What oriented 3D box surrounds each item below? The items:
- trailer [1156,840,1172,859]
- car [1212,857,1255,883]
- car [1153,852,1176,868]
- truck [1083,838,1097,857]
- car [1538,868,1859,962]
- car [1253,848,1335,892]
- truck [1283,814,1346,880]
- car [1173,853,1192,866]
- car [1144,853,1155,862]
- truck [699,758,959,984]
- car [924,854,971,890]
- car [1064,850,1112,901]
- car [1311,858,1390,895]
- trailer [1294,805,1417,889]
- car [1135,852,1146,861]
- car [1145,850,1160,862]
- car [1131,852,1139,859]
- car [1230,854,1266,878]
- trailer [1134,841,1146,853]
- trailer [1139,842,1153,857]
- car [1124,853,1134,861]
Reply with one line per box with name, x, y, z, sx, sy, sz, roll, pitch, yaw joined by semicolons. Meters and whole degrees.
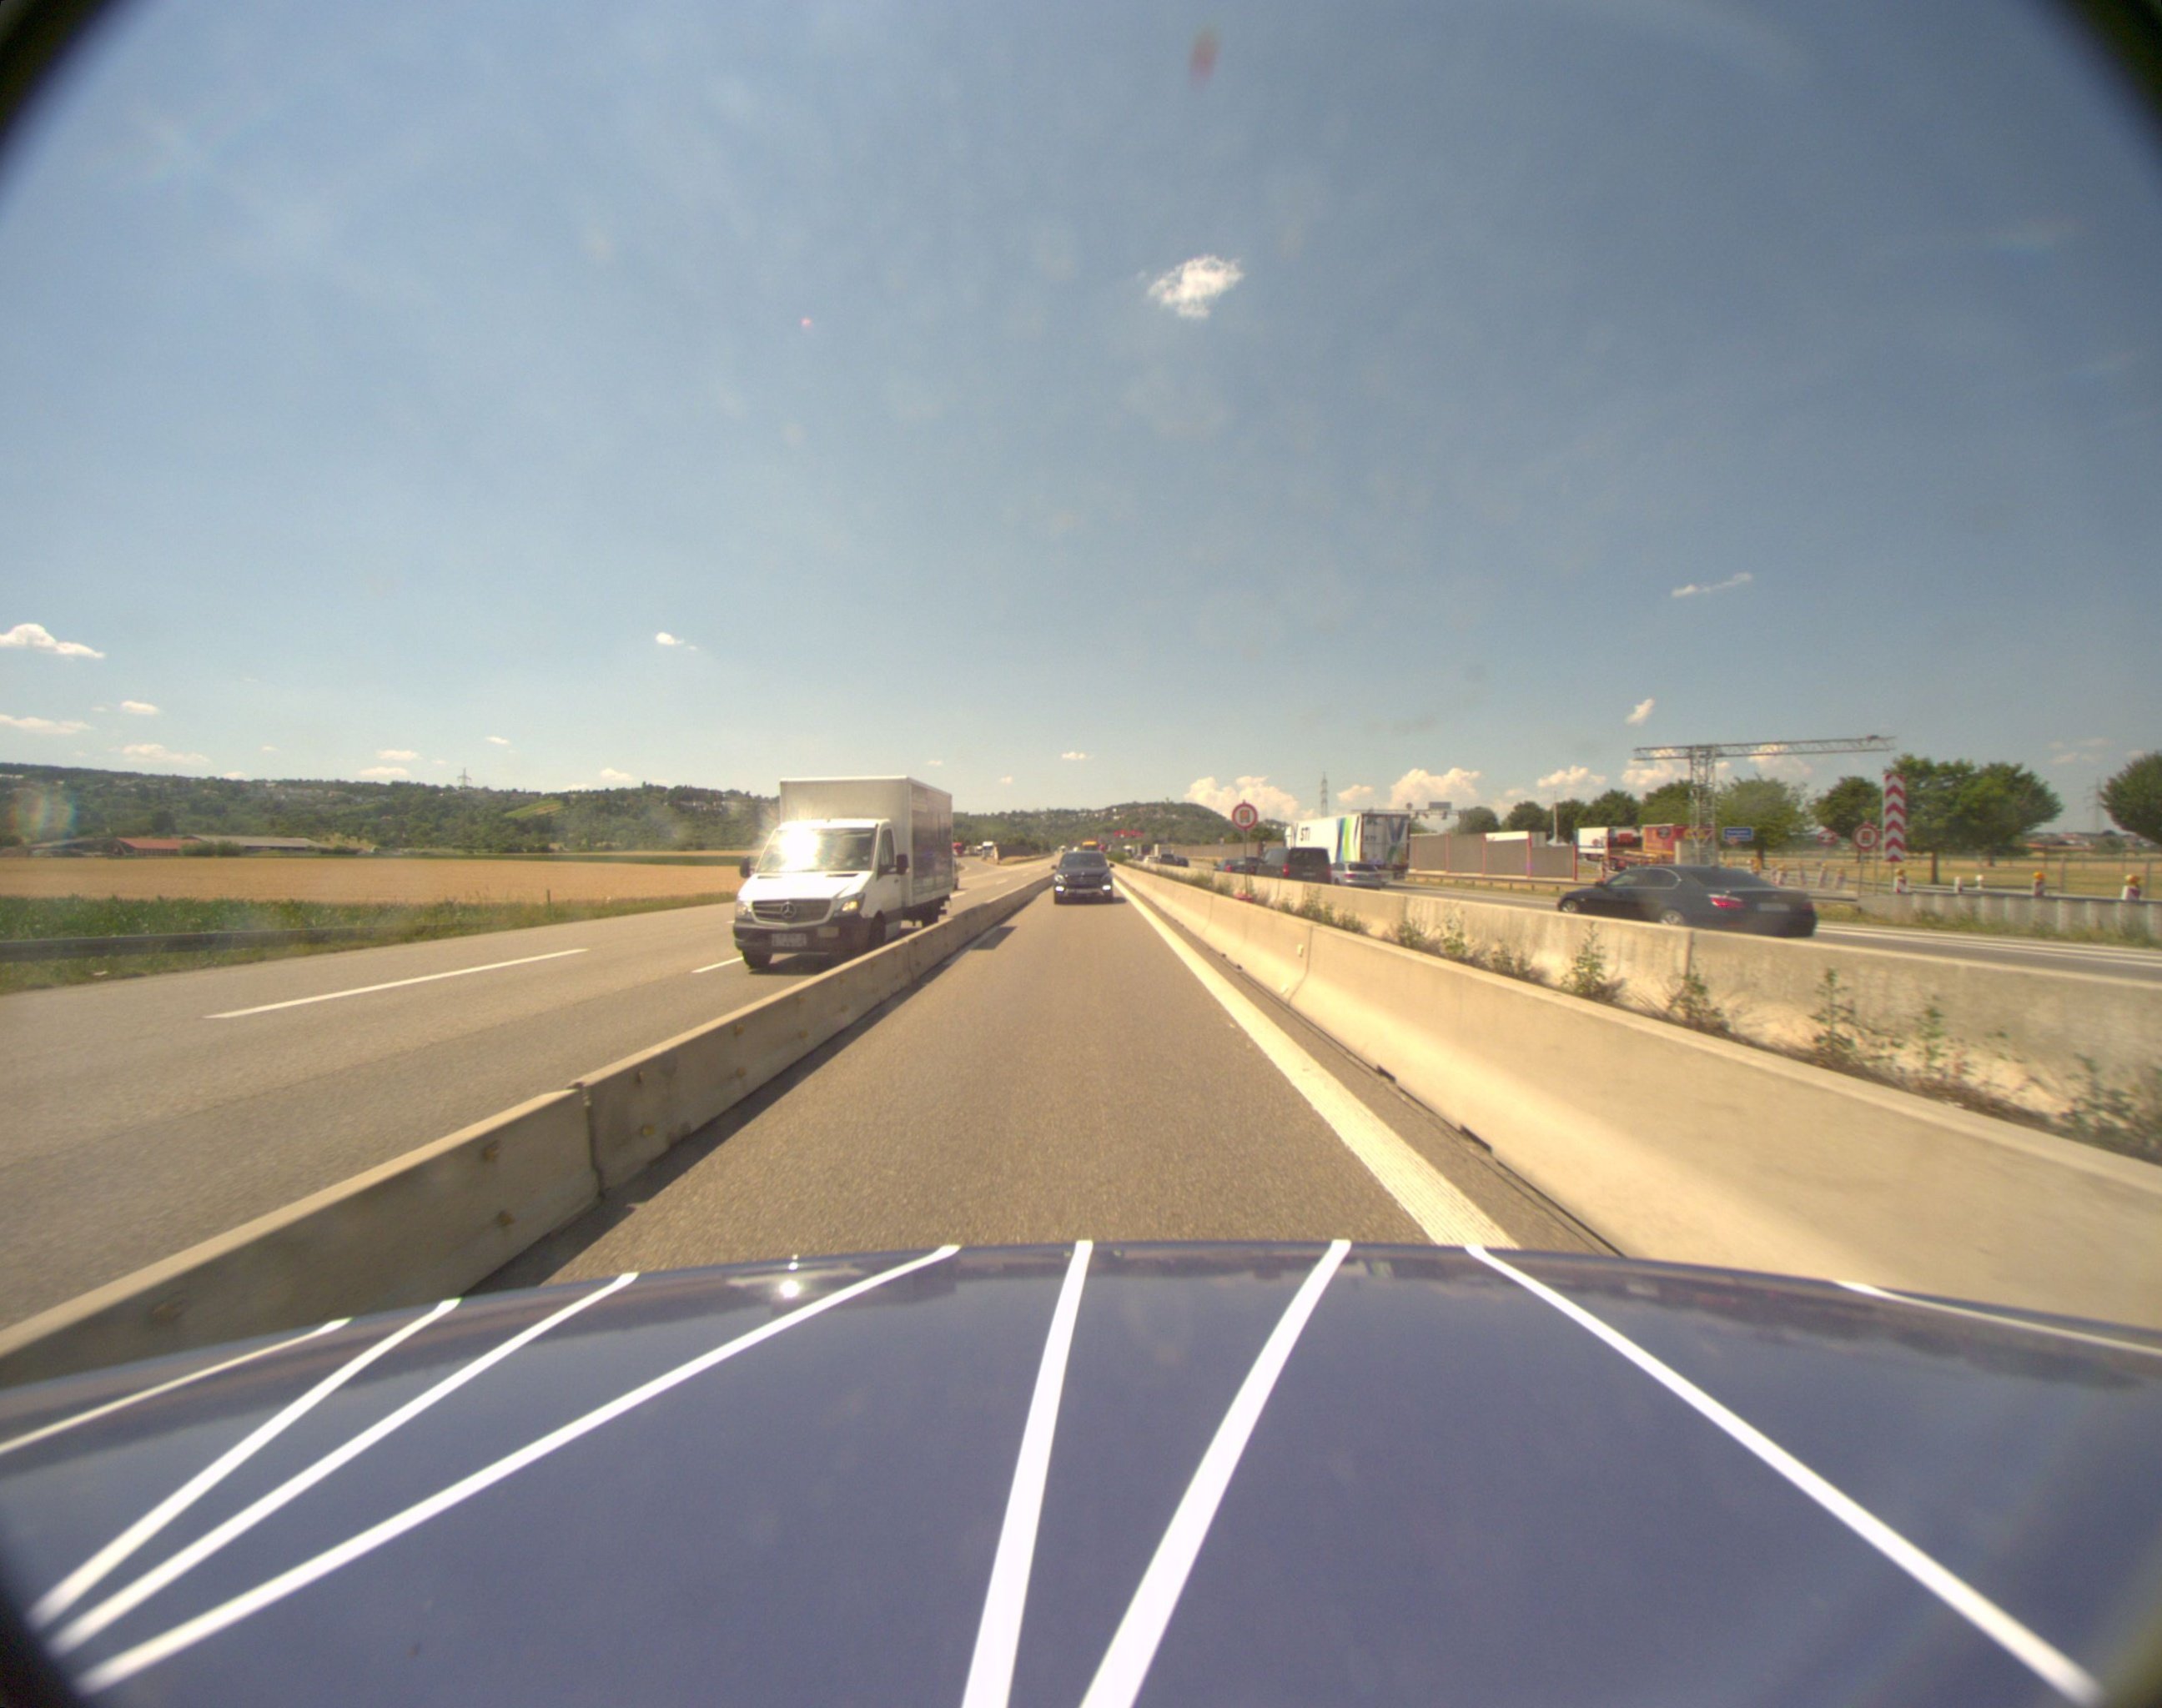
trailer;17.617;-0.980;161.100;2.654;3.851;6.616;1;1;1
car;8.554;0.851;42.884;1.659;1.344;4.267;-1;0;1
car;8.584;0.605;78.223;1.895;1.608;4.820;-1;1;1
truck;1.637;-1.122;131.938;2.272;3.139;8.186;-2;1;1
car;11.259;1.012;14.510;2.019;1.378;5.085;0;0;0
car;8.293;0.573;30.133;1.848;1.560;5.344;-1;0;1
truck;16.356;-0.477;53.565;2.878;4.349;4.903;1;1;1
car;12.903;0.659;96.892;1.816;1.477;4.963;-1;1;1
car;13.801;0.782;152.691;1.998;1.749;4.000;0;0;1
truck;-4.032;0.266;13.874;2.326;3.049;6.752;-2;0;1
car;-6.884;0.920;39.570;1.630;1.726;3.973;-2;0;1
car;0.287;0.752;28.190;1.630;1.711;3.865;-2;0;1
car;12.033;0.950;34.334;1.851;1.474;4.922;2;0;1
trailer;16.235;-0.384;46.398;2.900;4.349;12.993;1;0;1
car;10.570;0.483;134.912;1.659;1.510;4.000;-1;1;1
car;9.633;0.251;102.624;1.679;1.510;4.507;-1;1;1
car;14.868;0.486;210.403;1.998;2.002;4.346;0;0;3
car;12.070;0.860;55.232;1.659;1.642;4.665;-1;0;1
trailer;19.510;-2.372;252.190;3.263;4.033;14.388;-2;1;1
trailer;18.819;-1.309;220.078;2.991;4.043;15.162;-1;1;1
car;10.768;0.608;170.017;1.998;1.749;4.644;0;0;1
